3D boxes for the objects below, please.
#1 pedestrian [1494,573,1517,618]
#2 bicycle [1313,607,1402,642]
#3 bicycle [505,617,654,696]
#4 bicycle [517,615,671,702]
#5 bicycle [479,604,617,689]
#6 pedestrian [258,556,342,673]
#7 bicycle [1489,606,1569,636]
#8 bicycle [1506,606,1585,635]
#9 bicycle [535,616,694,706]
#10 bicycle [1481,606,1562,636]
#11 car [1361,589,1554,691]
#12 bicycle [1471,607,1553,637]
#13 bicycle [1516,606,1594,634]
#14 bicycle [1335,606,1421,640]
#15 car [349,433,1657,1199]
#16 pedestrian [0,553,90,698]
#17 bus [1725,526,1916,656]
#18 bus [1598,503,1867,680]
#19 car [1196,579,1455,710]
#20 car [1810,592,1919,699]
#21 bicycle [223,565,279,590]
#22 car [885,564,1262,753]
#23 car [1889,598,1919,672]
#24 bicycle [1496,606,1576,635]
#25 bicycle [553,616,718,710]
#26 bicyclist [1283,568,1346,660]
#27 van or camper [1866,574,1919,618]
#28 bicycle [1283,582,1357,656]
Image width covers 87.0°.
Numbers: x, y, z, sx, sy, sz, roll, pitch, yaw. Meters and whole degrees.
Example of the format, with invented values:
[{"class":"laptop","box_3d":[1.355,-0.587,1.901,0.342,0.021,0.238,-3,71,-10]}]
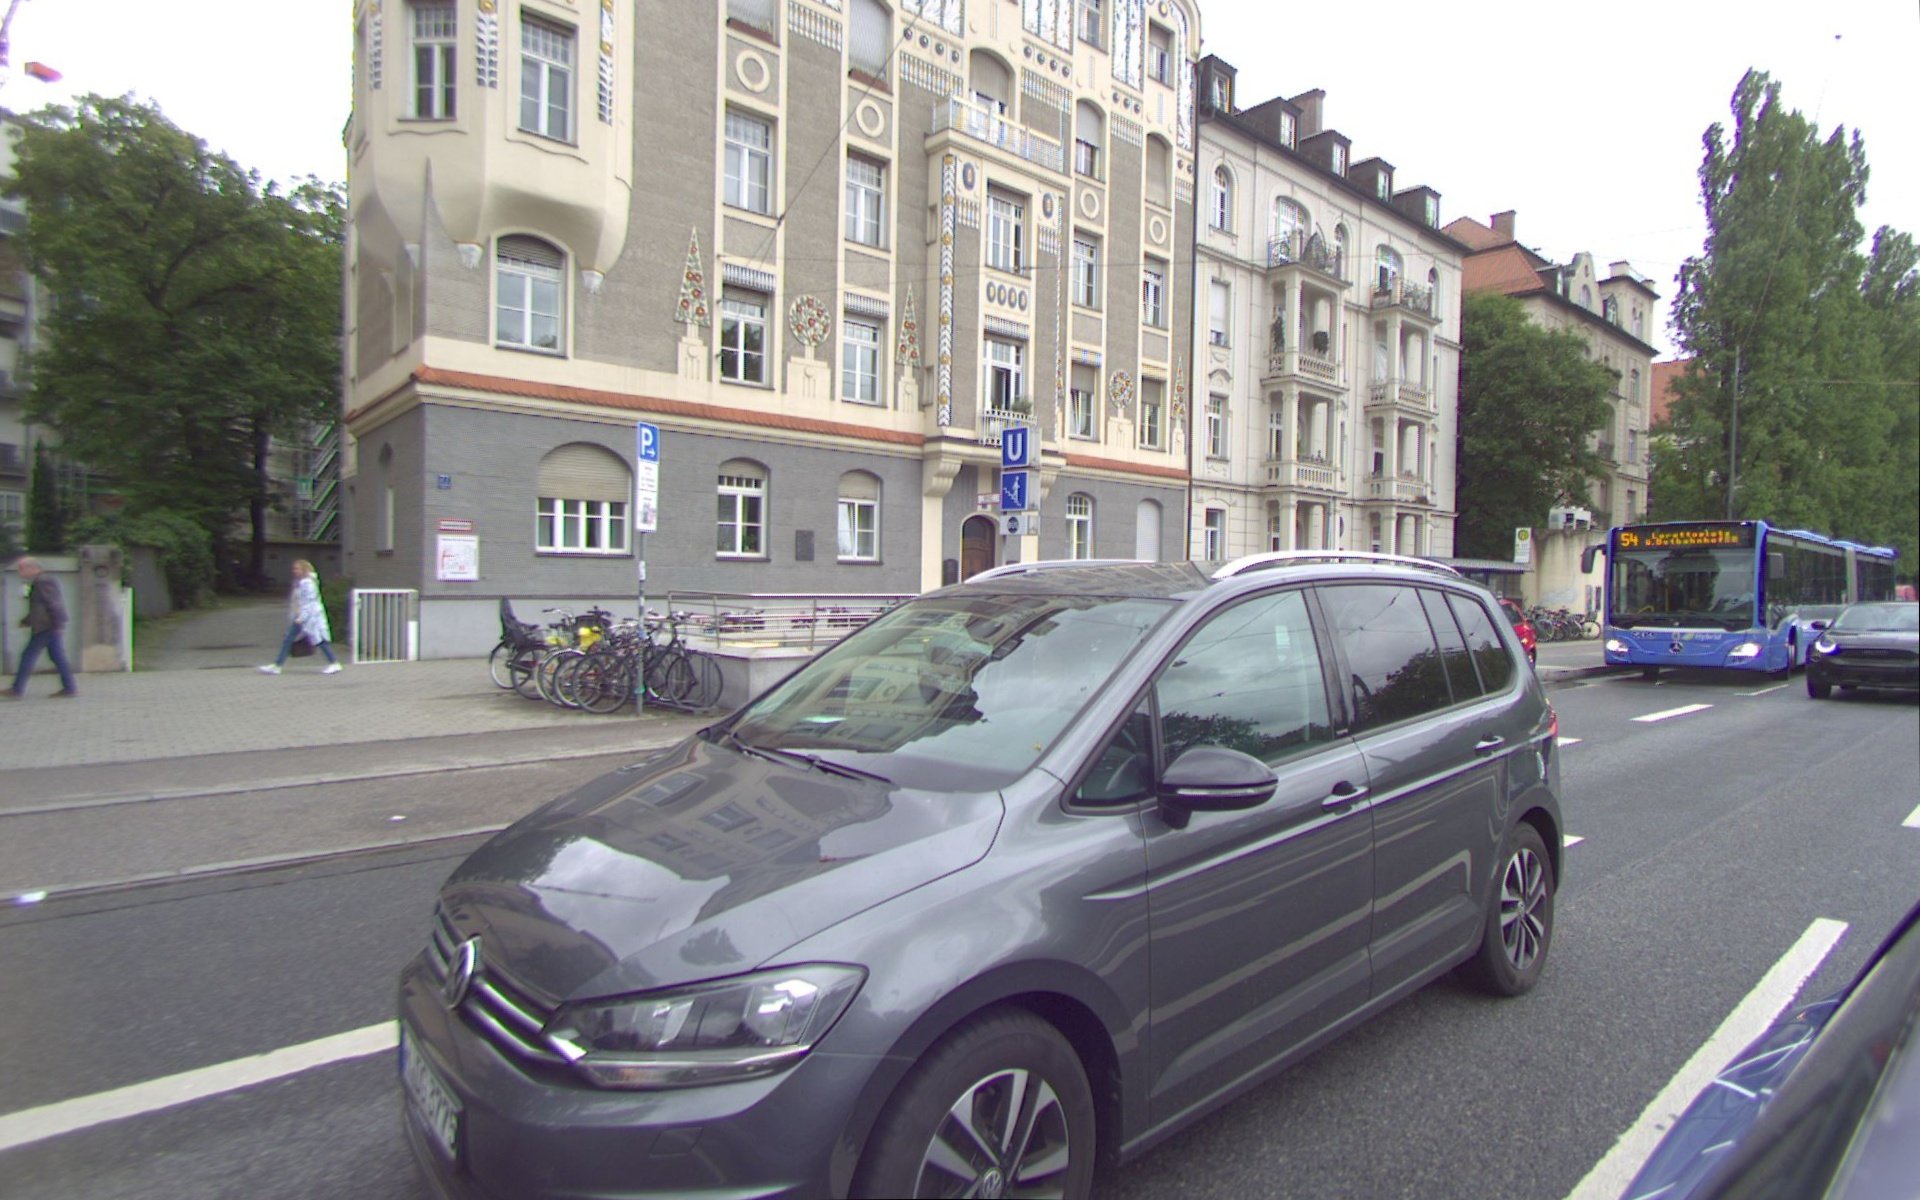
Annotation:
[{"class":"pedestrian","box_3d":[23.438,-0.198,43.485,0.661,1.919,0.609,0,1,-39]},{"class":"bicycle","box_3d":[11.339,0.677,28.901,2.312,0.933,0.579,0,1,38]},{"class":"bicycle","box_3d":[-4.970,0.727,13.308,1.801,0.990,0.393,0,1,-14]},{"class":"bicycle","box_3d":[-4.614,0.725,12.847,1.801,1.036,0.393,0,1,-14]},{"class":"bicycle","box_3d":[-5.895,0.656,14.488,1.855,1.169,0.464,0,1,8]},{"class":"pedestrian","box_3d":[-10.185,0.201,15.617,0.999,1.735,0.747,0,2,-41]},{"class":"bicycle","box_3d":[19.174,0.695,34.151,0.590,0.933,2.319,0,1,-43]},{"class":"bicycle","box_3d":[20.209,0.686,34.988,0.590,0.933,2.319,0,1,-43]},{"class":"bicycle","box_3d":[-4.174,0.722,12.336,1.801,1.036,0.447,0,1,-14]},{"class":"bicycle","box_3d":[18.717,0.699,33.791,0.590,0.933,2.319,0,1,-43]},{"class":"car","box_3d":[8.642,0.599,17.475,3.678,1.527,1.729,0,2,-42]},{"class":"bicycle","box_3d":[18.168,0.704,33.342,0.590,0.933,2.319,0,1,-43]},{"class":"bicycle","box_3d":[20.886,0.680,35.567,0.590,0.933,2.319,0,1,-43]},{"class":"bicycle","box_3d":[12.322,0.668,29.902,0.629,0.933,2.319,0,1,-43]},{"class":"car","box_3d":[0.661,0.561,3.572,4.624,1.667,1.775,0,2,-40]},{"class":"pedestrian","box_3d":[-11.337,0.290,12.412,0.999,1.706,0.747,0,2,-41]},{"class":"bus","box_3d":[23.182,-0.220,27.070,8.384,3.012,2.635,0,0,-41]},{"class":"bus","box_3d":[16.509,-0.158,21.278,9.300,3.012,2.635,0,0,-41]},{"class":"car","box_3d":[5.319,0.533,14.546,3.895,1.596,1.730,0,2,-39]},{"class":"car","box_3d":[14.868,0.643,15.859,3.901,1.523,1.778,0,-1,-41]},{"class":"bicycle","box_3d":[-33.060,-1.030,47.207,2.090,1.137,0.816,0,2,-41]},{"class":"car","box_3d":[1.446,0.502,11.576,4.425,1.680,1.736,-1,5,-42]},{"class":"car","box_3d":[20.703,0.667,20.955,4.171,1.451,1.702,0,-1,-41]},{"class":"bicycle","box_3d":[19.641,0.691,34.541,0.590,0.933,2.319,0,1,-43]},{"class":"bicycle","box_3d":[-3.768,0.720,11.851,1.801,1.036,0.447,0,1,-14]},{"class":"bicyclist","box_3d":[6.474,0.235,18.475,0.923,1.623,0.681,0,2,-41]},{"class":"van or camper","box_3d":[49.215,-0.223,52.962,5.419,2.125,2.122,0,2,-42]},{"class":"bicycle","box_3d":[6.638,0.328,18.616,1.747,1.304,0.424,0,2,-40]}]
